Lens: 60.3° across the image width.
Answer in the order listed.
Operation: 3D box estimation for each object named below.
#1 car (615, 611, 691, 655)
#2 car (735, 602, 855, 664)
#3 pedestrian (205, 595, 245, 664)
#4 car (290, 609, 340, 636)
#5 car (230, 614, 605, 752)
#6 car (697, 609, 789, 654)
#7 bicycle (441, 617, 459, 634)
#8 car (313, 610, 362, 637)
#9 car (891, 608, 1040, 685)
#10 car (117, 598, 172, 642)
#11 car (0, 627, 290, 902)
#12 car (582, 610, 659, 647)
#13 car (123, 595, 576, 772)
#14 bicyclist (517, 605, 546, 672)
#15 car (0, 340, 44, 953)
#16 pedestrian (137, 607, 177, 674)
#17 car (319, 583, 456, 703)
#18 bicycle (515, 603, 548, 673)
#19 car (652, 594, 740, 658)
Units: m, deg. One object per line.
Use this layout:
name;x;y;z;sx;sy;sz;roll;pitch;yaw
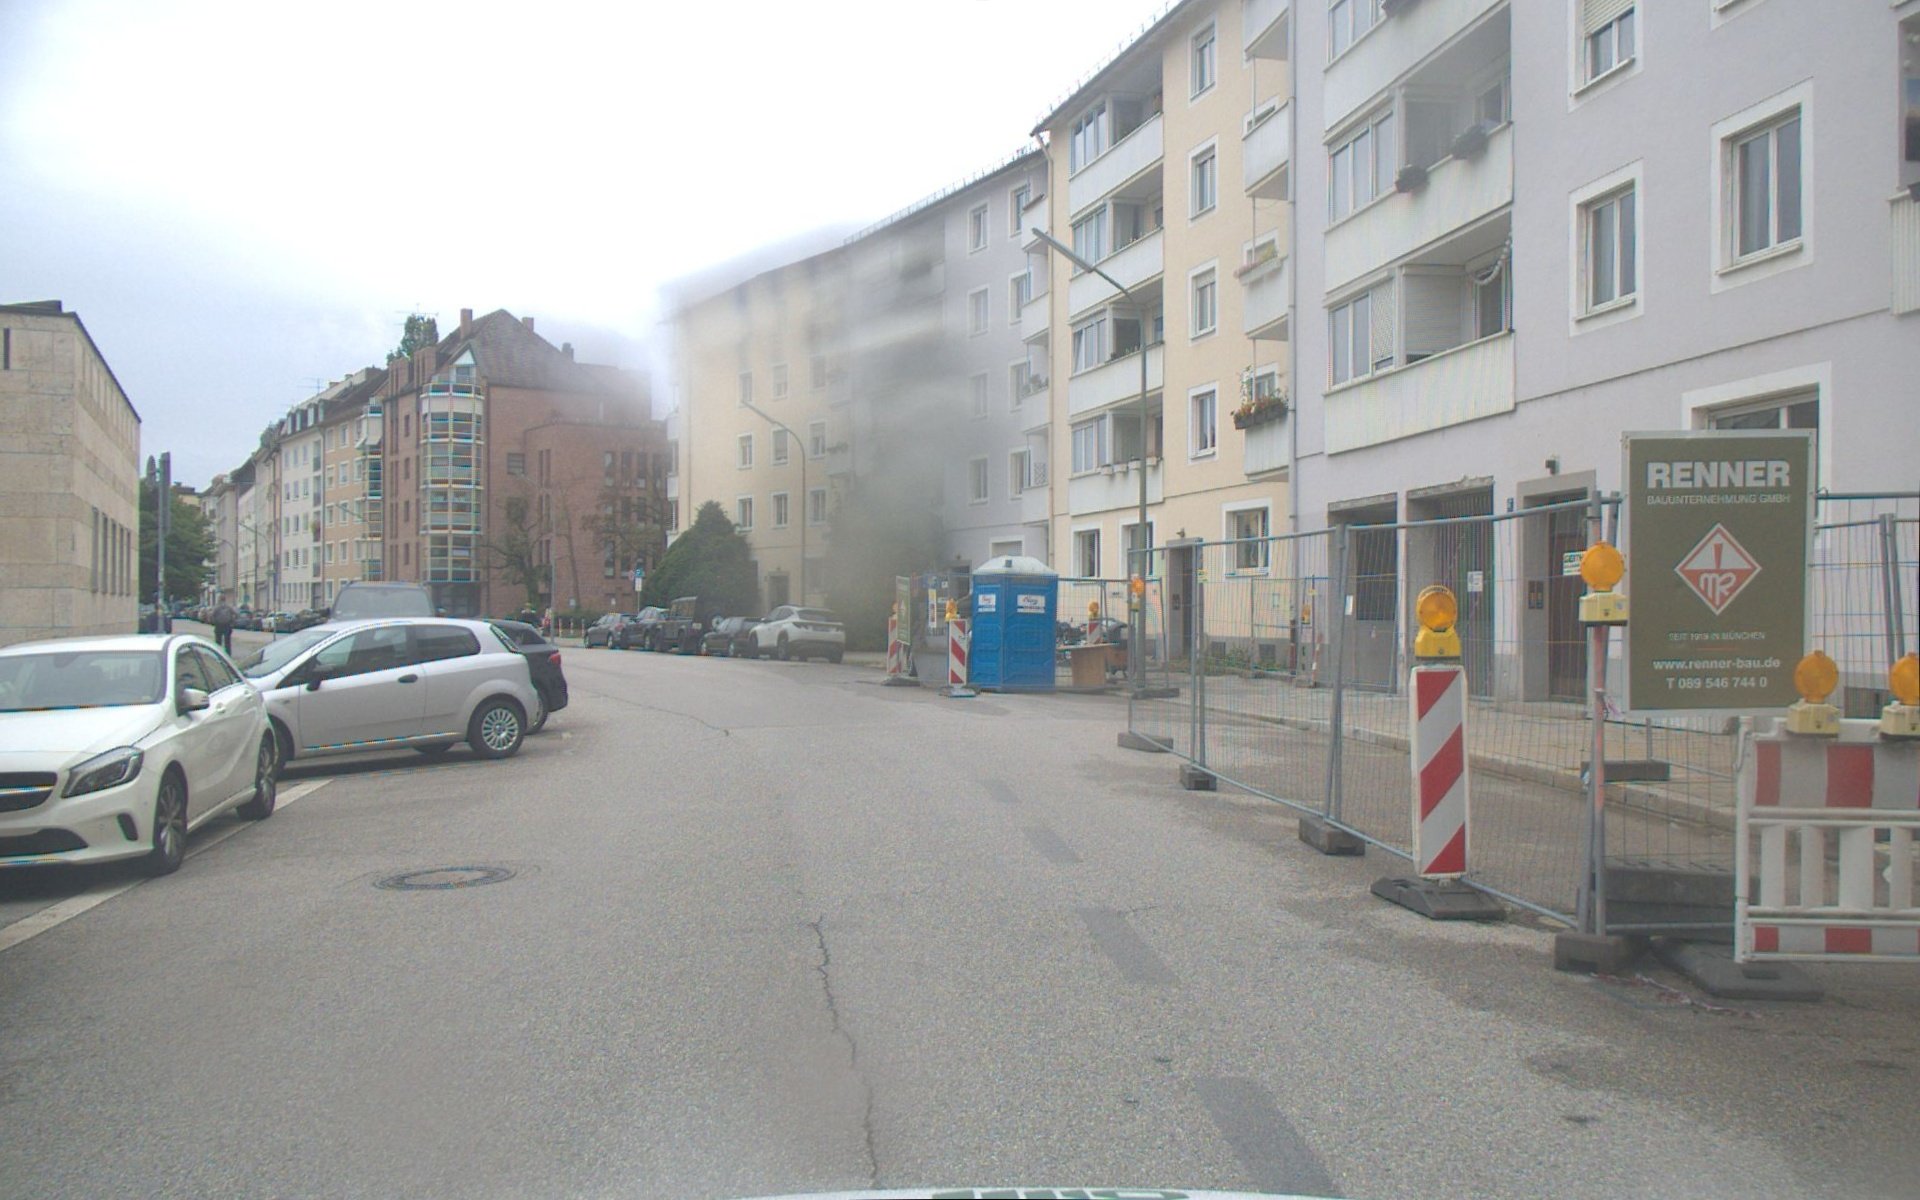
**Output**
car;-11.791;1.251;63.346;1.639;1.593;4.474;2;-2;-27
car;-4.994;0.960;49.551;2.002;1.707;4.572;2;-1;-27
pedestrian;-19.254;0.771;43.356;0.781;1.770;0.817;2;-1;-17
car;-43.225;1.487;110.770;1.950;1.630;4.609;3;-1;-37
car;-6.496;0.942;20.091;1.719;1.397;3.980;-2;0;44
car;-7.137;1.056;54.168;1.641;1.373;3.765;2;-3;-30
bicycle;-33.056;1.675;107.168;0.482;1.078;1.970;3;-3;-36
car;-40.201;1.509;106.746;1.816;1.630;4.210;3;-1;-37
car;0.035;0.946;35.150;1.802;1.467;4.605;2;-1;-18
car;-53.613;1.335;108.703;2.402;2.762;5.879;-1;-1;-35
car;-5.851;0.959;10.949;1.795;1.411;4.130;-3;0;-11
car;-13.875;1.172;67.467;1.738;1.421;3.997;3;-3;-33
car;-6.082;0.815;16.763;3.951;1.557;1.649;3;-1;-44
bicyclist;-11.449;1.016;44.174;0.735;1.747;1.028;0;0;-15
car;-4.840;0.186;4.246;2.103;2.619;6.202;-1;0;-7
pedestrian;-20.091;1.014;41.386;0.594;1.629;0.642;1;-1;37
car;-9.494;0.655;27.495;1.963;1.803;4.788;0;0;-19
bicycle;-11.502;0.993;44.370;0.782;1.752;3.103;-2;1;-15
car;-9.358;0.882;58.454;1.727;2.118;4.476;2;-1;-27
